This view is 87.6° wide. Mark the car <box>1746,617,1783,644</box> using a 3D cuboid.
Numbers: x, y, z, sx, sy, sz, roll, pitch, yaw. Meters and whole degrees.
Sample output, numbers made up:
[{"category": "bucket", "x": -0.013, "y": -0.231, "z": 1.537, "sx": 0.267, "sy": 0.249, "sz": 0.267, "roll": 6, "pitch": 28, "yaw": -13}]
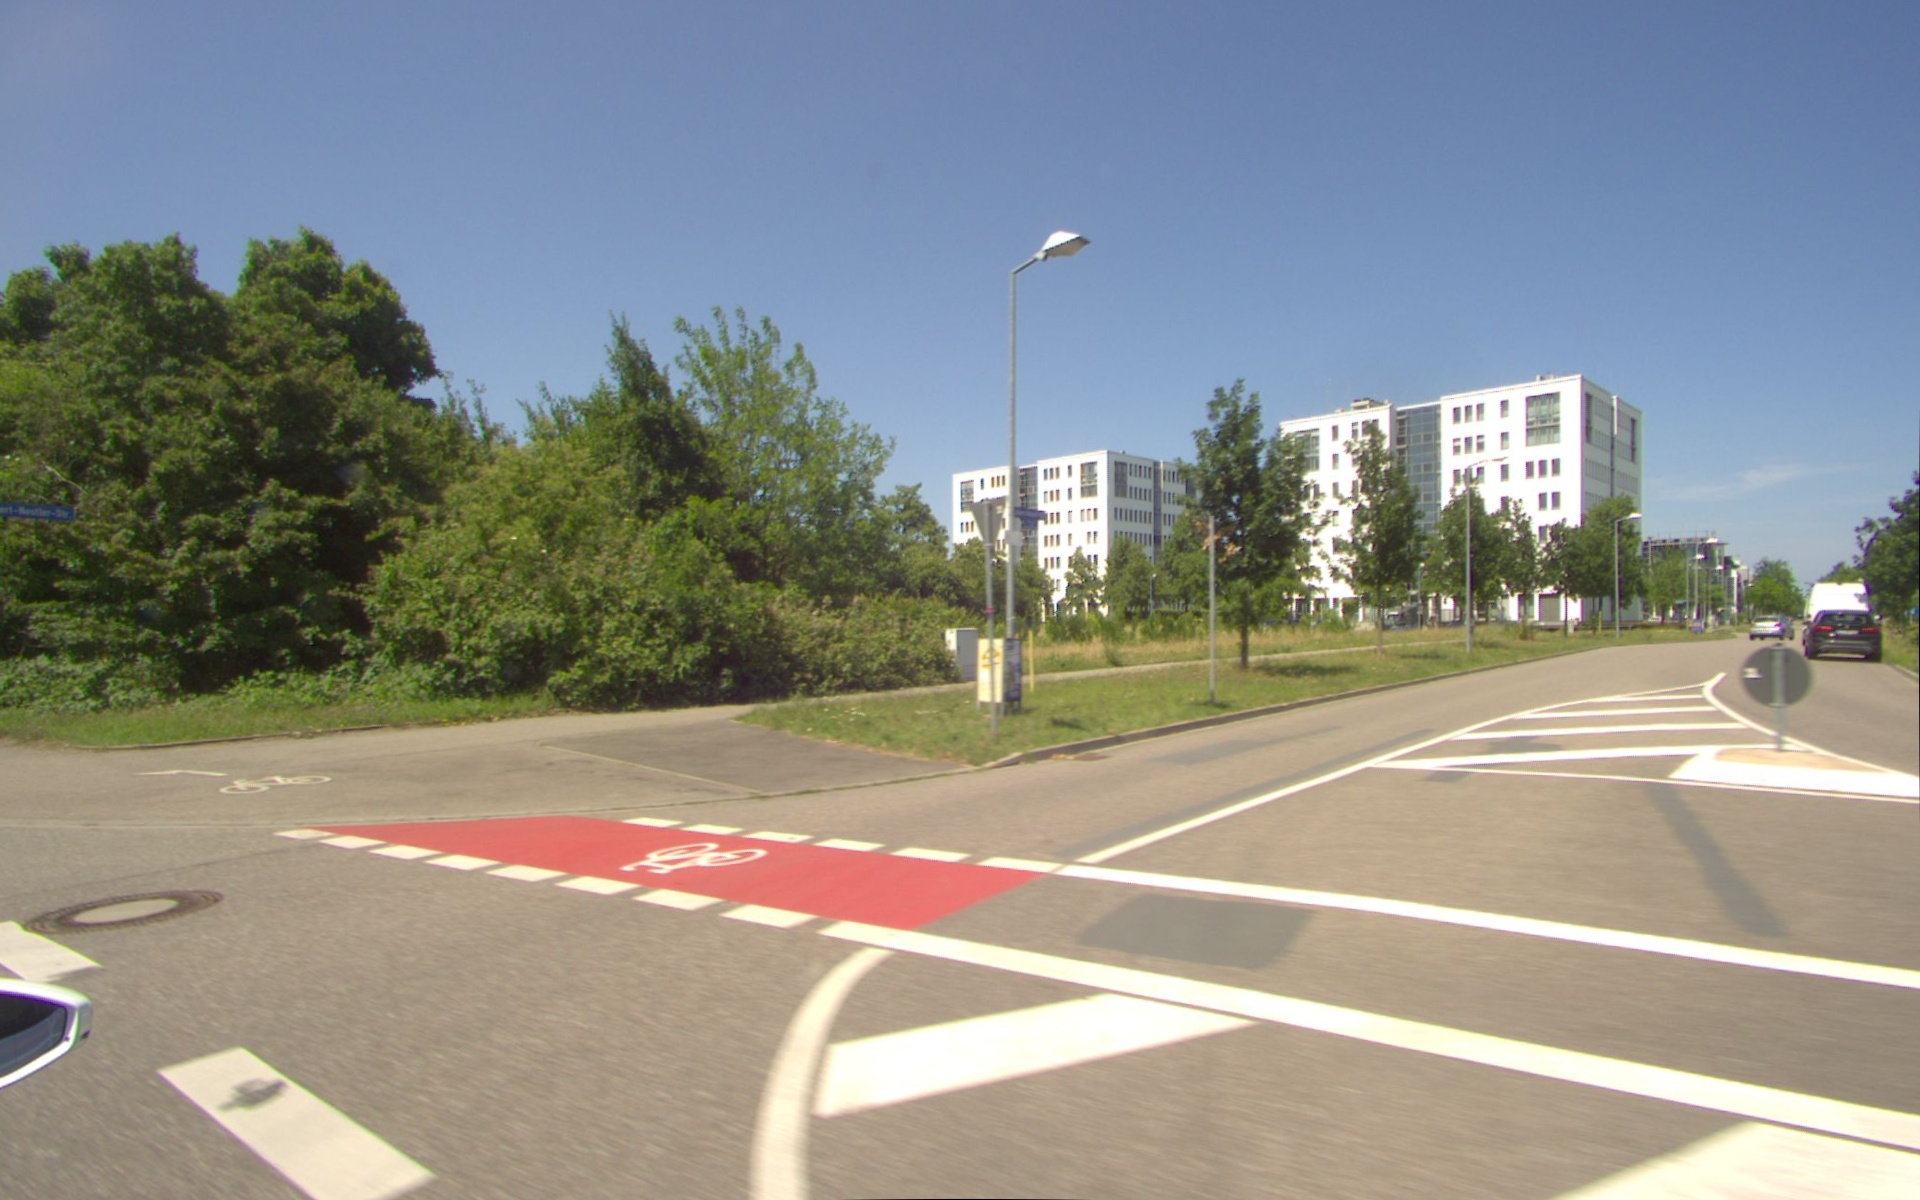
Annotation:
[{"category": "car", "x": 49.812, "y": 1.916, "z": 61.976, "sx": 1.686, "sy": 1.552, "sz": 3.600, "roll": -1, "pitch": -3, "yaw": 41}]

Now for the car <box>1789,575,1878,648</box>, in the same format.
[{"category": "car", "x": 37.018, "y": 0.574, "z": 42.489, "sx": 2.638, "sy": 2.837, "sz": 6.799, "roll": -2, "pitch": -3, "yaw": 41}]

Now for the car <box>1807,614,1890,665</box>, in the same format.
[{"category": "car", "x": 28.523, "y": 1.288, "z": 32.247, "sx": 1.684, "sy": 1.552, "sz": 3.605, "roll": -1, "pitch": -3, "yaw": 37}]
